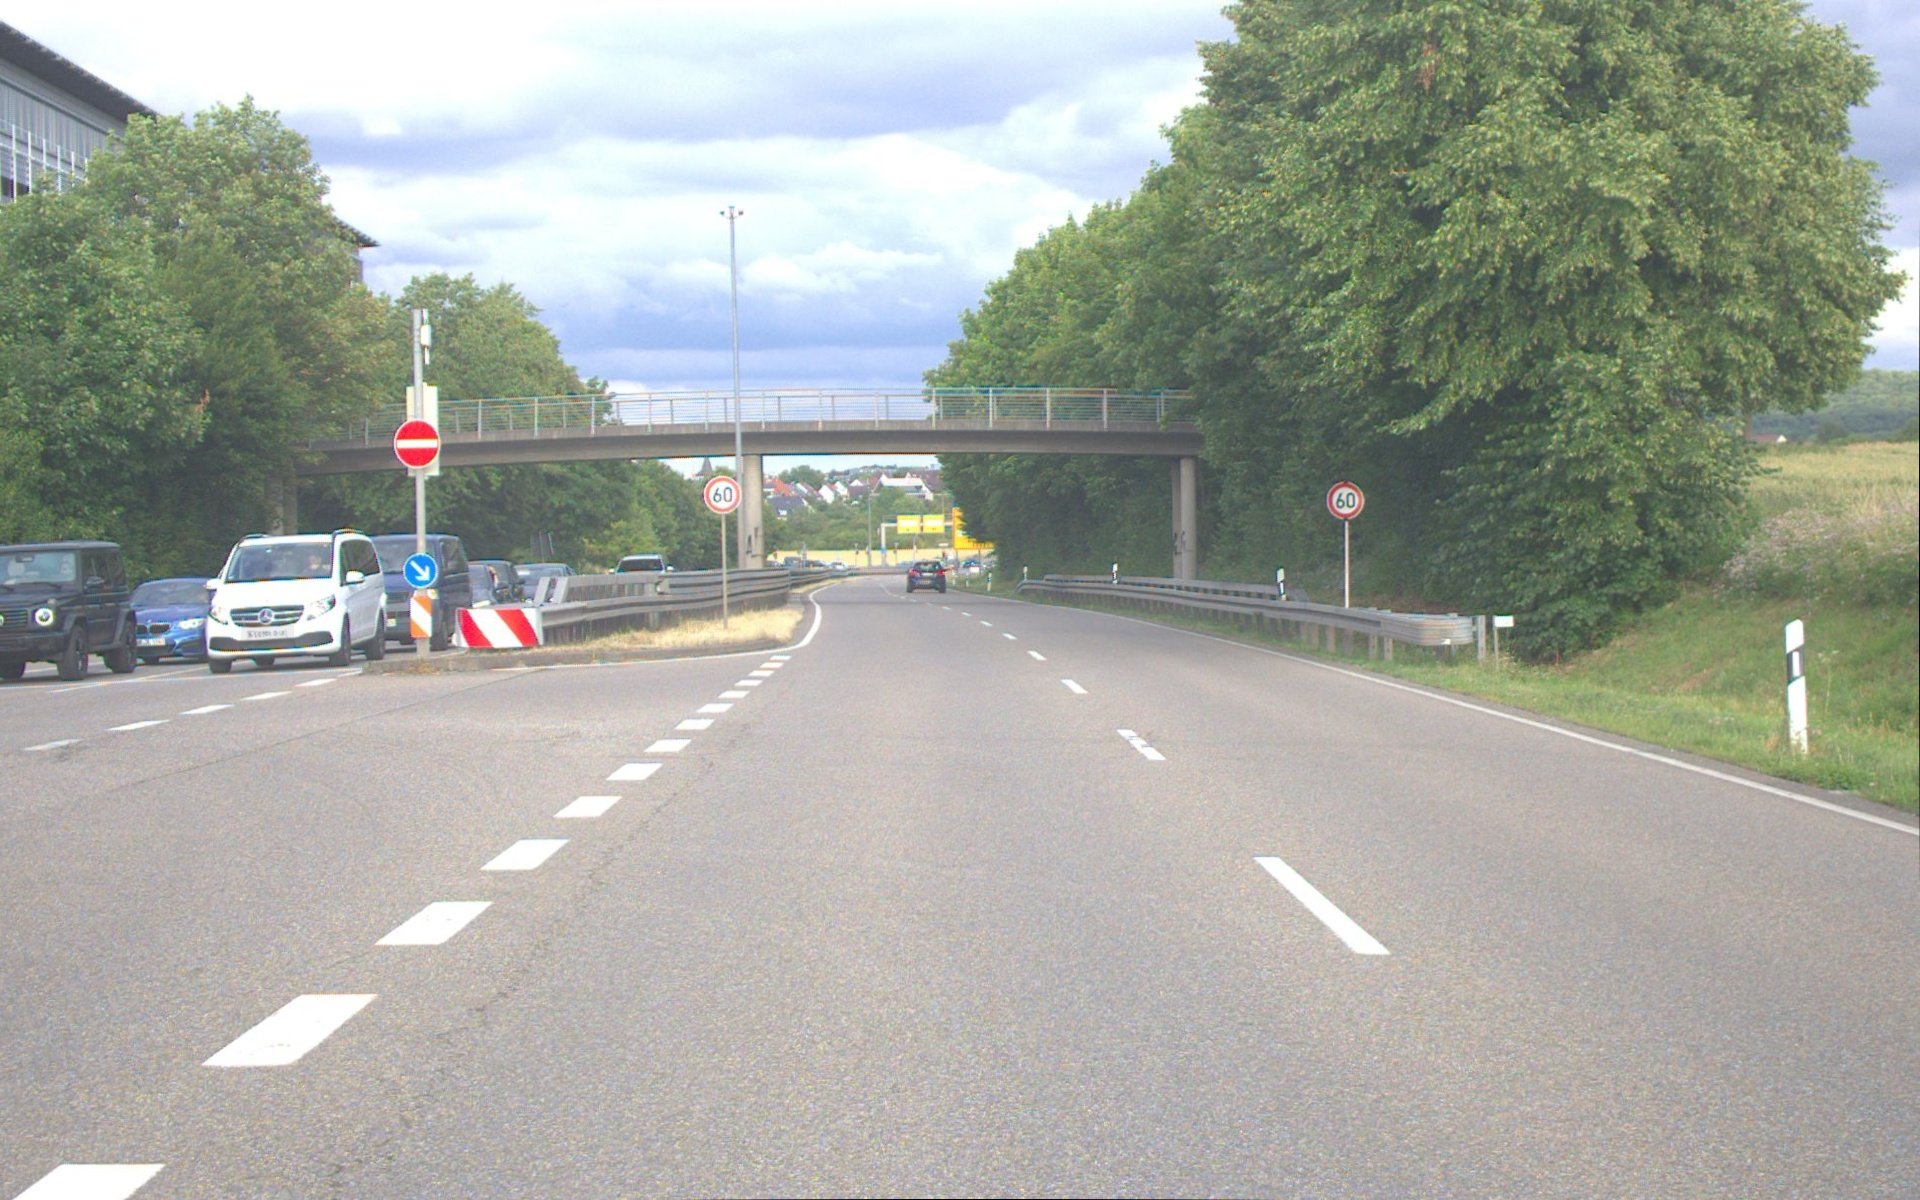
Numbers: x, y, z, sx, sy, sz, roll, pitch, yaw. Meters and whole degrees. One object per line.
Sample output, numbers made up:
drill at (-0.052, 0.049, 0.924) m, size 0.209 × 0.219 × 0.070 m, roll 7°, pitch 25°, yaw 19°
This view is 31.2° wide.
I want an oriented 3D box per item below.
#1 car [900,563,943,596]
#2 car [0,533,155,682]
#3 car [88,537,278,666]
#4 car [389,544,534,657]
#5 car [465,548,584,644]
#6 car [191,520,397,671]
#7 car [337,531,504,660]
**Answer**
car at (-1.864, -0.979, 165.137) m, size 1.879 × 1.547 × 4.000 m, roll 1°, pitch 0°, yaw -2°
car at (-13.115, 0.063, 49.244) m, size 2.083 × 2.007 × 5.217 m, roll 1°, pitch 0°, yaw -2°
car at (-12.746, 0.001, 56.745) m, size 2.083 × 2.007 × 5.217 m, roll 1°, pitch 0°, yaw -2°
car at (-9.321, -0.012, 64.658) m, size 2.083 × 2.007 × 5.217 m, roll 1°, pitch 0°, yaw -2°
car at (-9.535, -0.115, 75.637) m, size 2.083 × 2.007 × 5.217 m, roll 1°, pitch 0°, yaw -2°
car at (-9.481, -0.085, 49.353) m, size 2.083 × 2.007 × 5.217 m, roll 1°, pitch 0°, yaw -2°
car at (-8.901, -0.102, 57.090) m, size 2.083 × 2.007 × 5.217 m, roll 1°, pitch 0°, yaw -2°
